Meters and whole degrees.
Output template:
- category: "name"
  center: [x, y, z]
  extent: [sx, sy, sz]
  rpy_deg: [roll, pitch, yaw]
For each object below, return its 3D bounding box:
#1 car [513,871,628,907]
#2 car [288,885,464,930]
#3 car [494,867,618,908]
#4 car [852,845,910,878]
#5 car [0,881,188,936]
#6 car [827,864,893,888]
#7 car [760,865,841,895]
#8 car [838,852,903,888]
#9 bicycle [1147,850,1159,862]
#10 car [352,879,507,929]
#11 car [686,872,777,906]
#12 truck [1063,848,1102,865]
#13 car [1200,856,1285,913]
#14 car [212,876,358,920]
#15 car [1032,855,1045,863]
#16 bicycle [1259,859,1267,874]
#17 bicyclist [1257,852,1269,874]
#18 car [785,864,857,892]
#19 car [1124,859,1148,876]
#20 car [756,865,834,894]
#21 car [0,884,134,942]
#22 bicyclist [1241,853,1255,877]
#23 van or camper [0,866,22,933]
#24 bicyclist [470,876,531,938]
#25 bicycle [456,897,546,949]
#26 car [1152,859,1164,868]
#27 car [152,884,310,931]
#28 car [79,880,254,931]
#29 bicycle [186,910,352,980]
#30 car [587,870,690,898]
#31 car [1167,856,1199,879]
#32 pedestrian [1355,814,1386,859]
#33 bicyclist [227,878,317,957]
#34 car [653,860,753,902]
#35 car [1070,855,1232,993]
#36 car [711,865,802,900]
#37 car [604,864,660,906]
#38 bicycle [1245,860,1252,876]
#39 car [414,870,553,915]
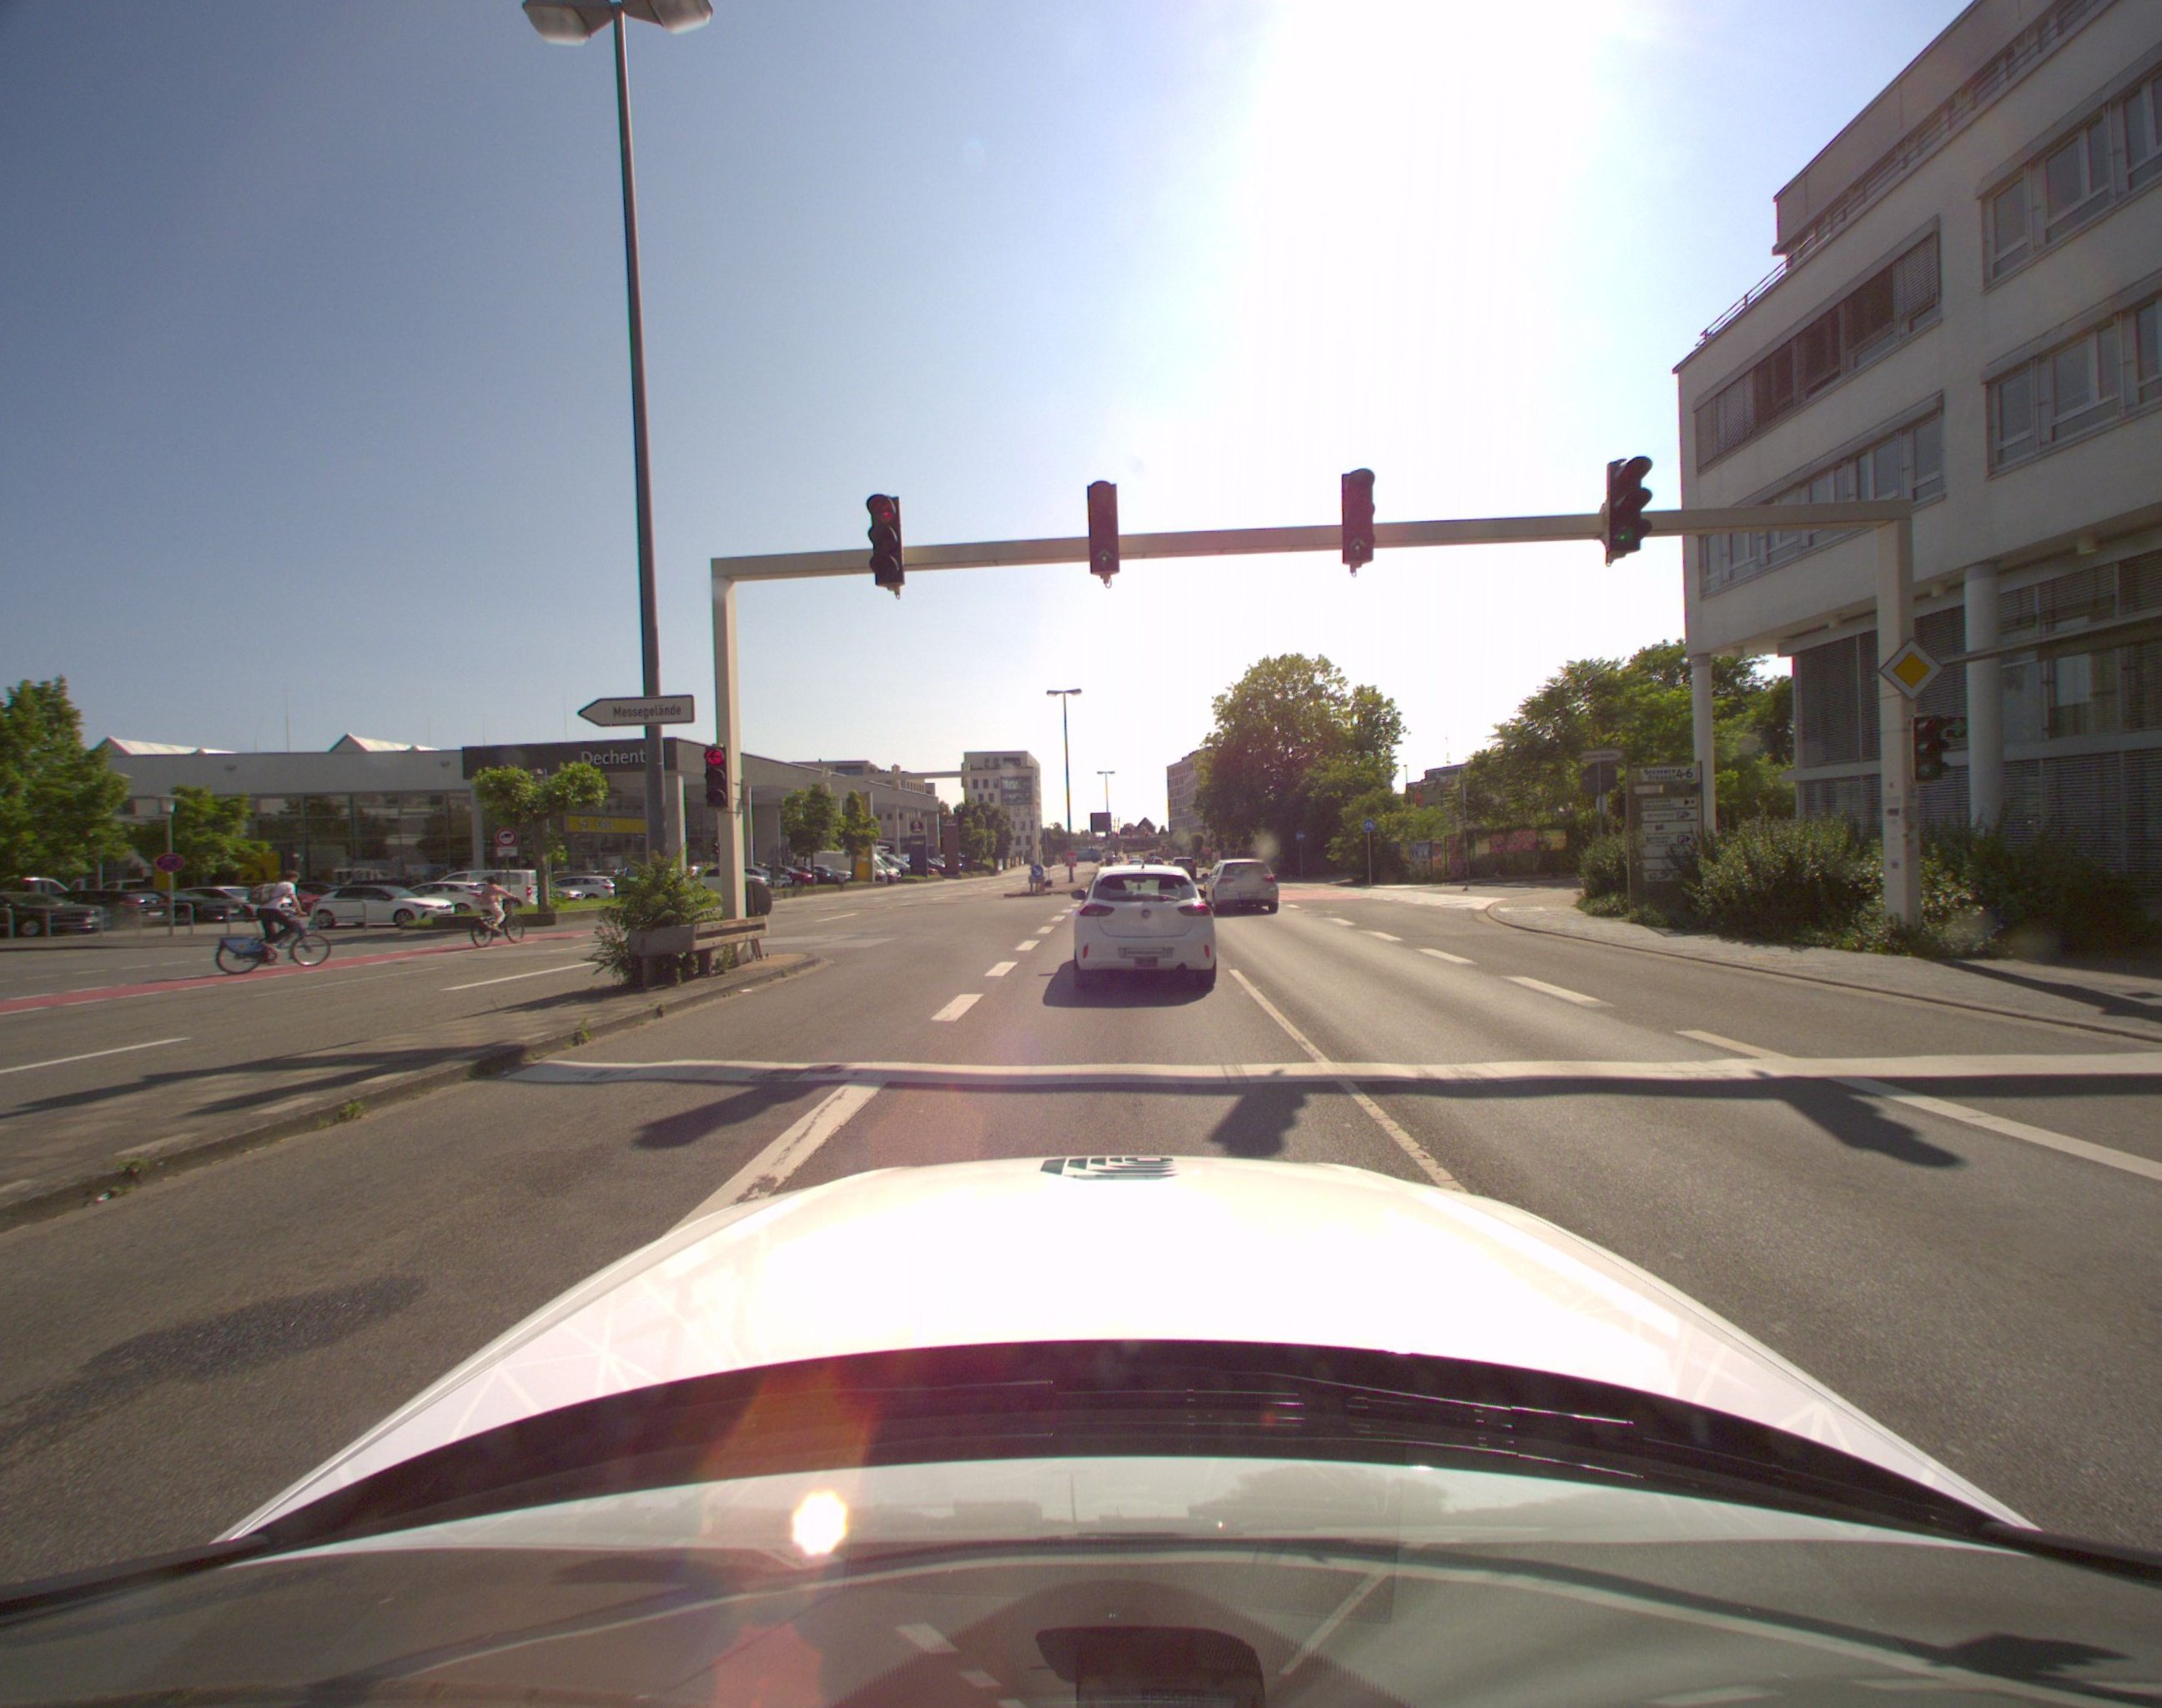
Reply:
- category: "car"
  center: [-25.314, 1.710, 40.540]
  extent: [4.349, 1.591, 1.996]
  rpy_deg: [-2, -1, -5]
- category: "car"
  center: [-24.818, 1.867, 28.813]
  extent: [4.346, 1.300, 1.998]
  rpy_deg: [-2, 0, -3]
- category: "car"
  center: [-24.380, 1.528, 37.937]
  extent: [4.351, 1.696, 1.996]
  rpy_deg: [-2, -1, -6]
- category: "car"
  center: [-17.324, 0.650, 70.487]
  extent: [4.332, 2.601, 2.005]
  rpy_deg: [-2, -1, 8]
- category: "car"
  center: [-35.410, 1.906, 29.224]
  extent: [4.346, 1.696, 1.998]
  rpy_deg: [-2, -1, -3]
- category: "car"
  center: [-16.992, 1.677, 62.688]
  extent: [4.332, 1.696, 2.005]
  rpy_deg: [-2, -1, 8]
- category: "car"
  center: [-17.691, 1.627, 51.497]
  extent: [4.341, 1.696, 2.000]
  rpy_deg: [-2, -1, 0]
- category: "car"
  center: [-16.834, 1.289, 65.132]
  extent: [4.467, 2.684, 2.135]
  rpy_deg: [-2, -1, 11]
- category: "bicycle"
  center: [13.361, 0.330, 151.531]
  extent: [1.985, 2.157, 4.003]
  rpy_deg: [-2, -1, 3]
- category: "car"
  center: [-25.458, 1.939, 31.951]
  extent: [4.346, 1.696, 1.998]
  rpy_deg: [-2, -1, -3]
- category: "car"
  center: [-18.655, 1.872, 43.660]
  extent: [3.979, 1.599, 1.997]
  rpy_deg: [-2, -1, -4]
- category: "truck"
  center: [0.360, 0.527, 197.781]
  extent: [9.061, 3.834, 3.071]
  rpy_deg: [-2, -1, -10]
- category: "car"
  center: [4.537, 0.831, 23.404]
  extent: [1.800, 1.429, 4.003]
  rpy_deg: [-2, -1, 3]
- category: "car"
  center: [-35.701, 1.958, 36.652]
  extent: [4.350, 1.696, 1.996]
  rpy_deg: [-2, -1, -5]
- category: "car"
  center: [-7.267, 0.859, 139.453]
  extent: [1.798, 1.386, 4.003]
  rpy_deg: [0, -1, 3]
- category: "bicycle"
  center: [13.797, 0.934, 61.607]
  extent: [0.372, 1.147, 1.034]
  rpy_deg: [0, -1, 1]
- category: "bicyclist"
  center: [13.763, 0.681, 61.613]
  extent: [0.687, 1.643, 0.775]
  rpy_deg: [-2, -1, -5]
- category: "car"
  center: [-18.136, 1.664, 56.964]
  extent: [4.342, 1.696, 2.000]
  rpy_deg: [-2, -1, 0]
- category: "car"
  center: [4.797, 1.150, 71.492]
  extent: [1.986, 1.447, 4.372]
  rpy_deg: [-1, -1, 1]
- category: "car"
  center: [-18.823, 1.674, 53.774]
  extent: [4.342, 1.696, 2.000]
  rpy_deg: [-2, -1, 0]
- category: "car"
  center: [-34.456, 1.943, 26.675]
  extent: [4.346, 1.696, 1.998]
  rpy_deg: [-2, -1, -3]
- category: "bicyclist"
  center: [12.763, 0.822, 62.232]
  extent: [0.875, 1.772, 0.864]
  rpy_deg: [-2, -1, 3]
- category: "van or camper"
  center: [-41.229, 1.707, 28.715]
  extent: [4.709, 2.400, 1.996]
  rpy_deg: [-2, -1, -6]
- category: "bicyclist"
  center: [-14.645, 1.322, 20.569]
  extent: [0.766, 1.460, 1.026]
  rpy_deg: [-2, -1, -3]
- category: "bicycle"
  center: [-14.630, 1.711, 20.632]
  extent: [0.766, 1.116, 2.159]
  rpy_deg: [-2, 0, -2]
- category: "car"
  center: [12.348, 1.476, 131.262]
  extent: [1.798, 1.386, 4.003]
  rpy_deg: [0, -1, 3]
- category: "car"
  center: [-35.663, 2.223, 34.258]
  extent: [4.346, 1.696, 1.998]
  rpy_deg: [-2, -1, -3]
- category: "car"
  center: [-35.245, 1.947, 31.491]
  extent: [4.346, 1.696, 1.998]
  rpy_deg: [-2, -1, -3]
- category: "bicycle"
  center: [-15.961, 1.753, 16.088]
  extent: [0.761, 1.116, 2.174]
  rpy_deg: [-2, 0, 23]
- category: "car"
  center: [-23.611, 1.601, 43.614]
  extent: [4.350, 1.268, 1.996]
  rpy_deg: [-3, -2, -5]
- category: "car"
  center: [7.423, 0.976, 59.644]
  extent: [1.985, 1.551, 4.437]
  rpy_deg: [-2, 0, 3]
- category: "pedestrian"
  center: [13.318, -0.792, 37.462]
  extent: [1.023, 2.014, 1.039]
  rpy_deg: [-2, -1, 3]
- category: "bicyclist"
  center: [-15.970, 1.242, 16.101]
  extent: [0.761, 1.460, 1.033]
  rpy_deg: [-2, -1, 24]
- category: "car"
  center: [-18.302, 1.300, 39.581]
  extent: [3.857, 1.838, 2.000]
  rpy_deg: [-2, -1, 0]
- category: "car"
  center: [0.892, 0.802, 11.136]
  extent: [1.772, 1.494, 4.003]
  rpy_deg: [-2, 0, 3]
- category: "car"
  center: [-18.439, 1.607, 46.387]
  extent: [4.282, 1.765, 2.000]
  rpy_deg: [-2, -1, 0]
- category: "car"
  center: [-20.333, 1.408, 36.803]
  extent: [1.914, 1.733, 3.259]
  rpy_deg: [-2, -2, -34]
- category: "bicycle"
  center: [12.772, 1.076, 62.212]
  extent: [0.371, 1.216, 1.155]
  rpy_deg: [0, -1, 3]
- category: "car"
  center: [-25.700, 1.621, 35.147]
  extent: [4.351, 1.696, 1.996]
  rpy_deg: [-2, -1, -6]
